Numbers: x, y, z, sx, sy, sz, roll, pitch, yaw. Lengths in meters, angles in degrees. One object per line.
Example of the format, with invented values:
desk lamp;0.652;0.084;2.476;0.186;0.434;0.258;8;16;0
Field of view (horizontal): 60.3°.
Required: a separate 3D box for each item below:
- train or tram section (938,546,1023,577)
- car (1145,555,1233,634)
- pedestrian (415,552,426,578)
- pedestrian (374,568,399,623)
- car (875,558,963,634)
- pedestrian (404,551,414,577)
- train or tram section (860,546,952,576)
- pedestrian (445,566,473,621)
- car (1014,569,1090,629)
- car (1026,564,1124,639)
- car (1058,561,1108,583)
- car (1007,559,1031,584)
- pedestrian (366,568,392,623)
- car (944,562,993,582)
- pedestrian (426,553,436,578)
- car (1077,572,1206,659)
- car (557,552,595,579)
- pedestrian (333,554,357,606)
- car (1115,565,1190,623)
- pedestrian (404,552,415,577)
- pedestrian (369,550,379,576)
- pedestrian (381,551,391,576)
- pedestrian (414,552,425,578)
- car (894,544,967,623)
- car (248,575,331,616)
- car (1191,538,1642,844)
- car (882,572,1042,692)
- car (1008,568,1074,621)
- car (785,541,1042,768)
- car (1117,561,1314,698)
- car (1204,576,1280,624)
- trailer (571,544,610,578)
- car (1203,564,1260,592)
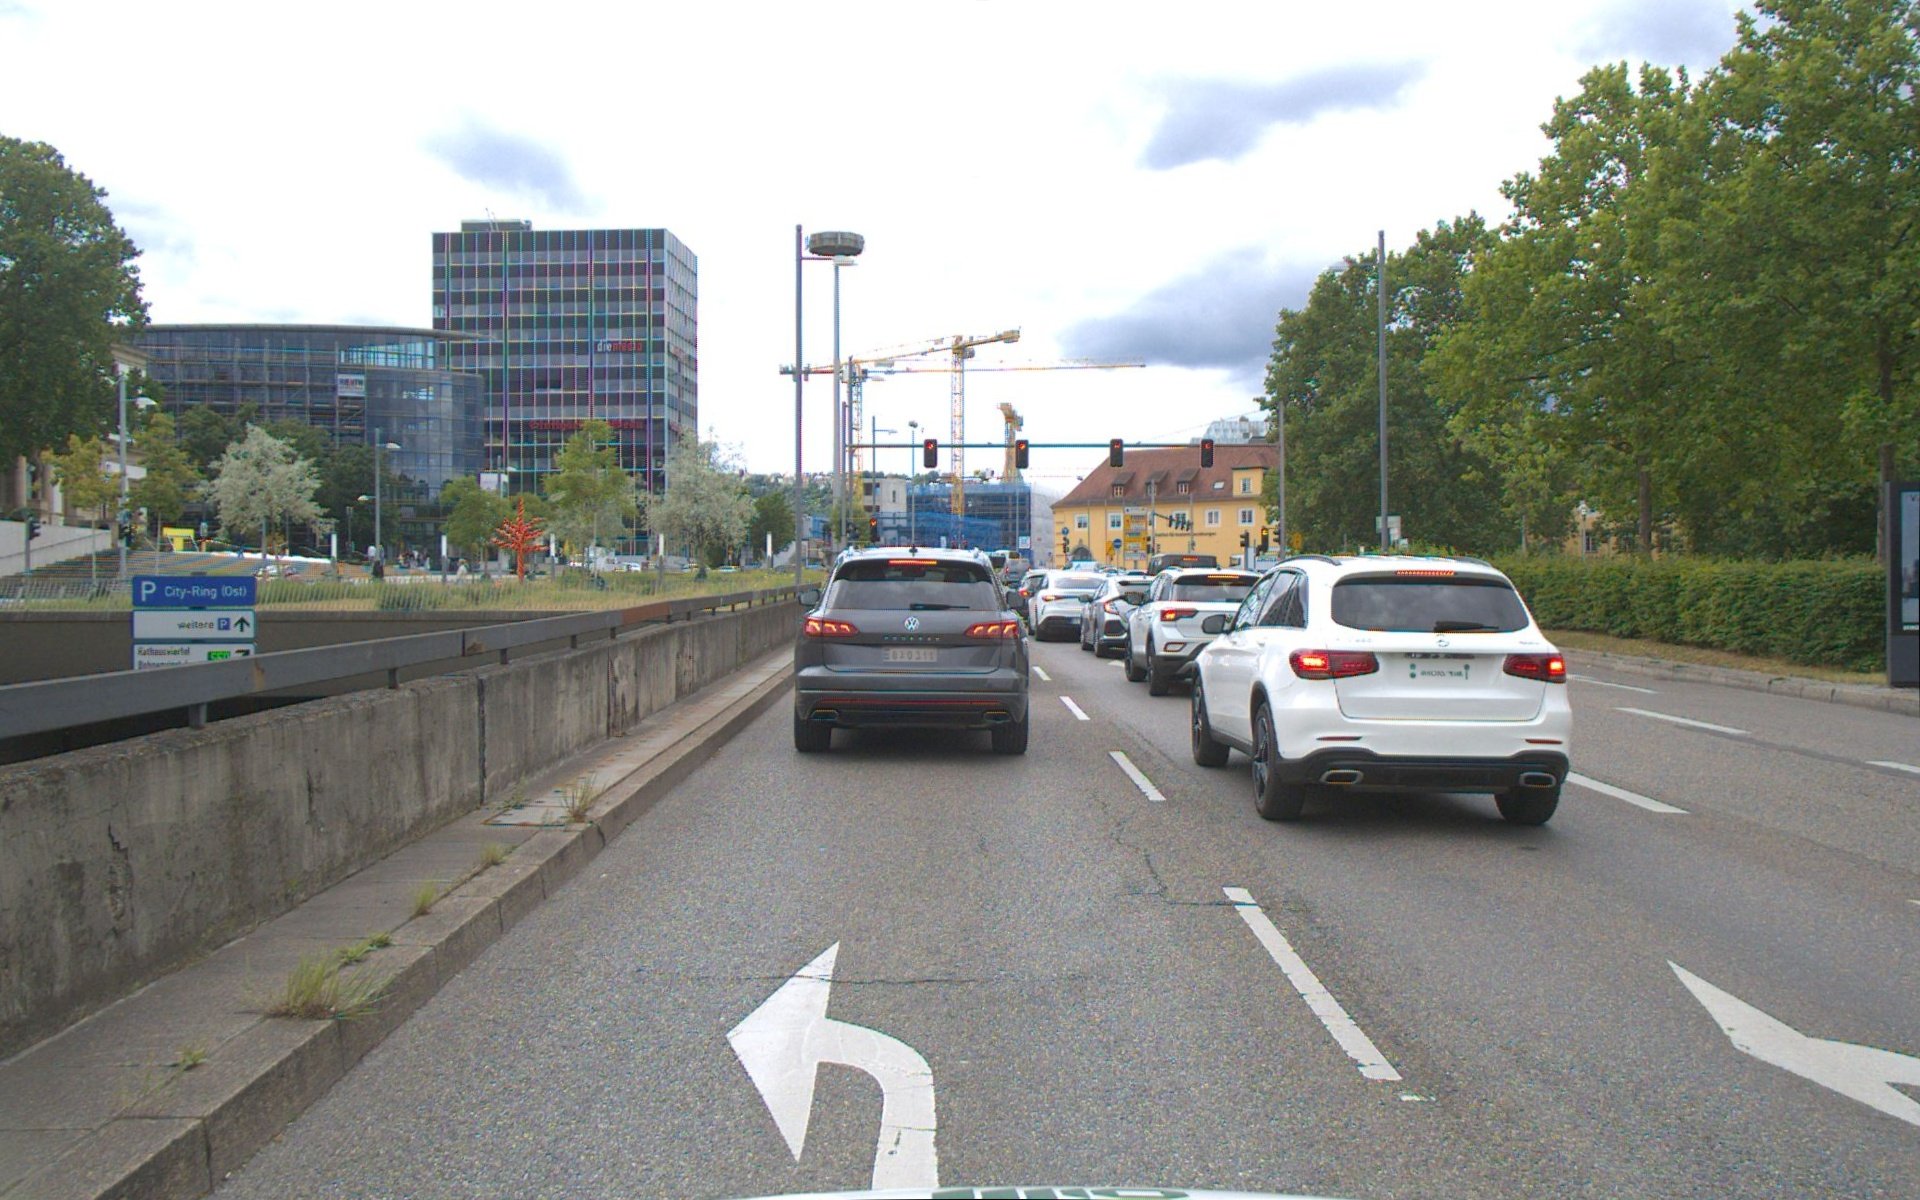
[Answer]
train or tram section;2.129;-4.012;172.656;8.761;3.062;2.590;2;-1;32
car;6.396;-0.156;46.542;1.871;2.049;4.012;2;0;0
pedestrian;-44.013;-2.852;134.917;0.728;2.048;0.788;-1;2;-21
pedestrian;-21.838;-0.180;62.978;0.781;2.048;0.829;-1;2;-28
car;-0.963;-0.121;38.932;1.912;1.627;3.930;2;1;-1
pedestrian;-44.236;-2.873;132.744;0.728;2.048;1.108;-1;2;-21
train or tram section;-5.847;-4.194;177.769;10.211;3.062;2.589;2;-1;33
pedestrian;-18.913;-0.267;62.441;0.842;2.048;0.629;0;2;-2
car;2.506;-0.027;45.791;1.887;1.556;4.048;1;0;0
car;2.506;0.022;36.970;1.887;1.556;4.490;1;0;0
car;12.009;-2.733;161.704;4.367;2.049;1.994;2;-1;33
car;4.258;-2.057;119.455;1.586;1.656;4.000;2;0;0
pedestrian;-21.820;-0.185;62.156;0.781;2.048;0.829;-1;2;-28
car;0.782;-2.499;147.239;4.029;1.638;1.823;2;-1;35
pedestrian;-43.059;-2.811;134.688;0.728;2.048;1.108;-1;2;-21
car;3.234;0.250;30.259;1.887;1.457;4.490;1;0;0
car;-30.366;-2.727;130.960;1.953;2.048;4.692;0;2;0
pedestrian;-24.831;-0.800;66.759;0.716;2.047;0.628;0;5;-8
car;6.111;-0.189;52.800;1.871;1.726;4.012;2;0;0
pedestrian;-44.505;-2.876;133.728;0.728;2.048;0.788;-1;2;-21
pedestrian;-47.111;-2.971;132.871;0.728;2.048;0.788;-1;2;-21
pedestrian;-46.013;-2.935;132.512;0.728;2.048;0.788;-1;2;-21
pedestrian;-43.469;-2.845;132.983;0.728;2.048;0.788;-1;2;-21
car;-0.834;-0.475;46.476;1.912;2.053;3.930;2;1;-1
car;-31.742;-0.257;78.406;2.130;1.887;4.735;0;1;-2
car;2.837;0.466;11.393;1.887;1.682;4.490;0;1;0
car;-0.009;0.360;22.126;1.912;1.408;3.930;2;1;-1
car;2.516;-0.176;52.078;1.887;1.556;4.048;1;0;0
car;-0.388;0.384;14.540;1.912;1.680;3.999;1;1;-1
car;3.206;0.331;21.597;1.887;1.578;4.490;1;0;0
car;9.154;-0.009;53.942;1.722;1.472;3.632;2;0;-2
trailer;-30.366;-3.210;136.067;1.996;2.650;5.508;2;2;-1
car;21.117;-1.679;128.667;3.916;2.049;1.994;2;-1;33
